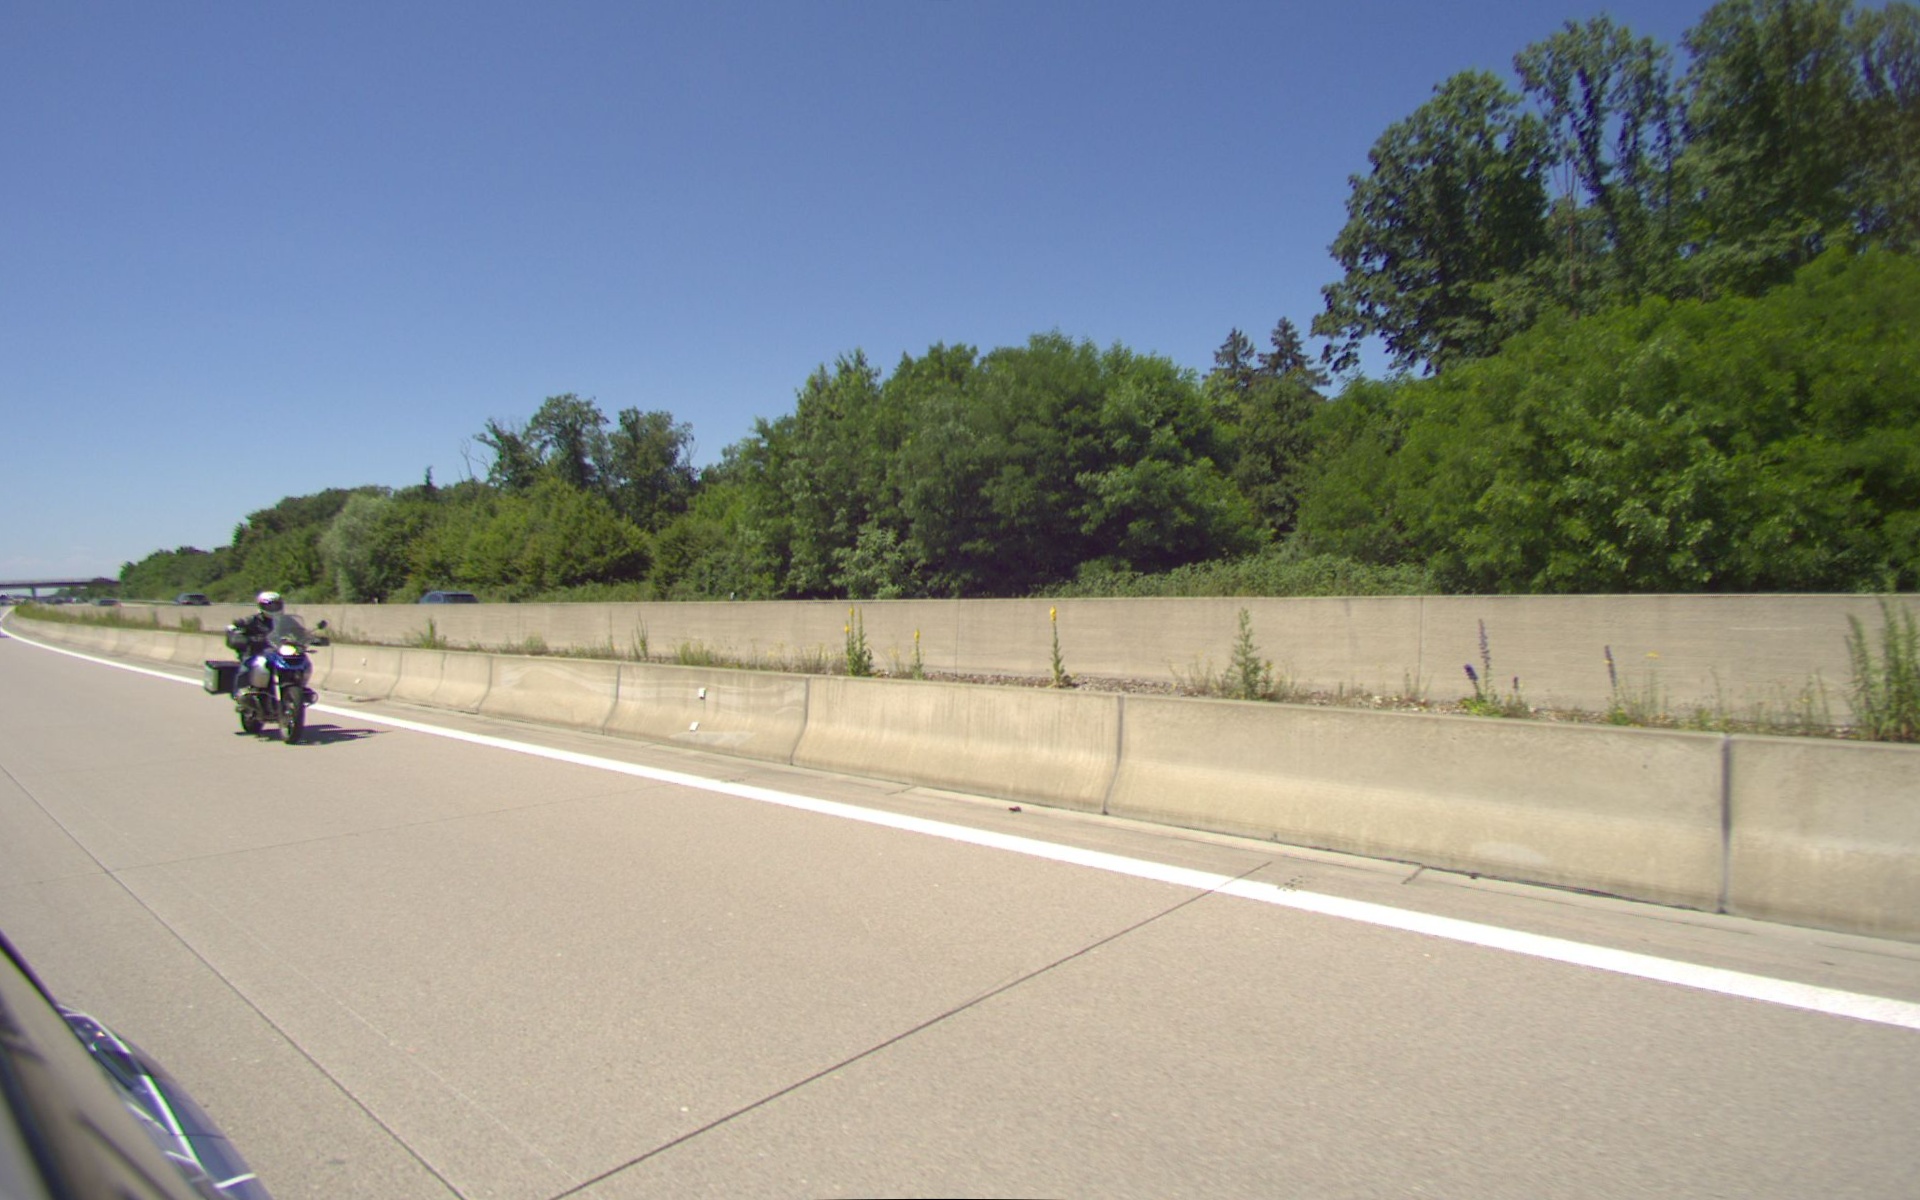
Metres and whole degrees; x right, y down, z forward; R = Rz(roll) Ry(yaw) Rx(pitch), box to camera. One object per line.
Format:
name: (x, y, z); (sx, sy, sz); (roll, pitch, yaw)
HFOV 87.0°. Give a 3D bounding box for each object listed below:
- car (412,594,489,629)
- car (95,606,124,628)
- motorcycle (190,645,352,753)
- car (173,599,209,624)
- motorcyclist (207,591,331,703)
car: (-21.144, 0.486, 41.954); (3.640, 1.336, 1.595); (-1, 1, 42)
car: (-79.199, 1.585, 94.188); (4.007, 1.936, 1.640); (-1, 0, 44)
motorcycle: (-8.047, 1.086, 11.769); (2.412, 1.056, 1.010); (-1, -1, 42)
car: (-60.987, 0.894, 80.210); (4.139, 1.936, 1.640); (-1, 0, 44)
motorcyclist: (-7.992, 0.522, 11.709); (0.911, 1.218, 1.014); (-2, -1, 42)
